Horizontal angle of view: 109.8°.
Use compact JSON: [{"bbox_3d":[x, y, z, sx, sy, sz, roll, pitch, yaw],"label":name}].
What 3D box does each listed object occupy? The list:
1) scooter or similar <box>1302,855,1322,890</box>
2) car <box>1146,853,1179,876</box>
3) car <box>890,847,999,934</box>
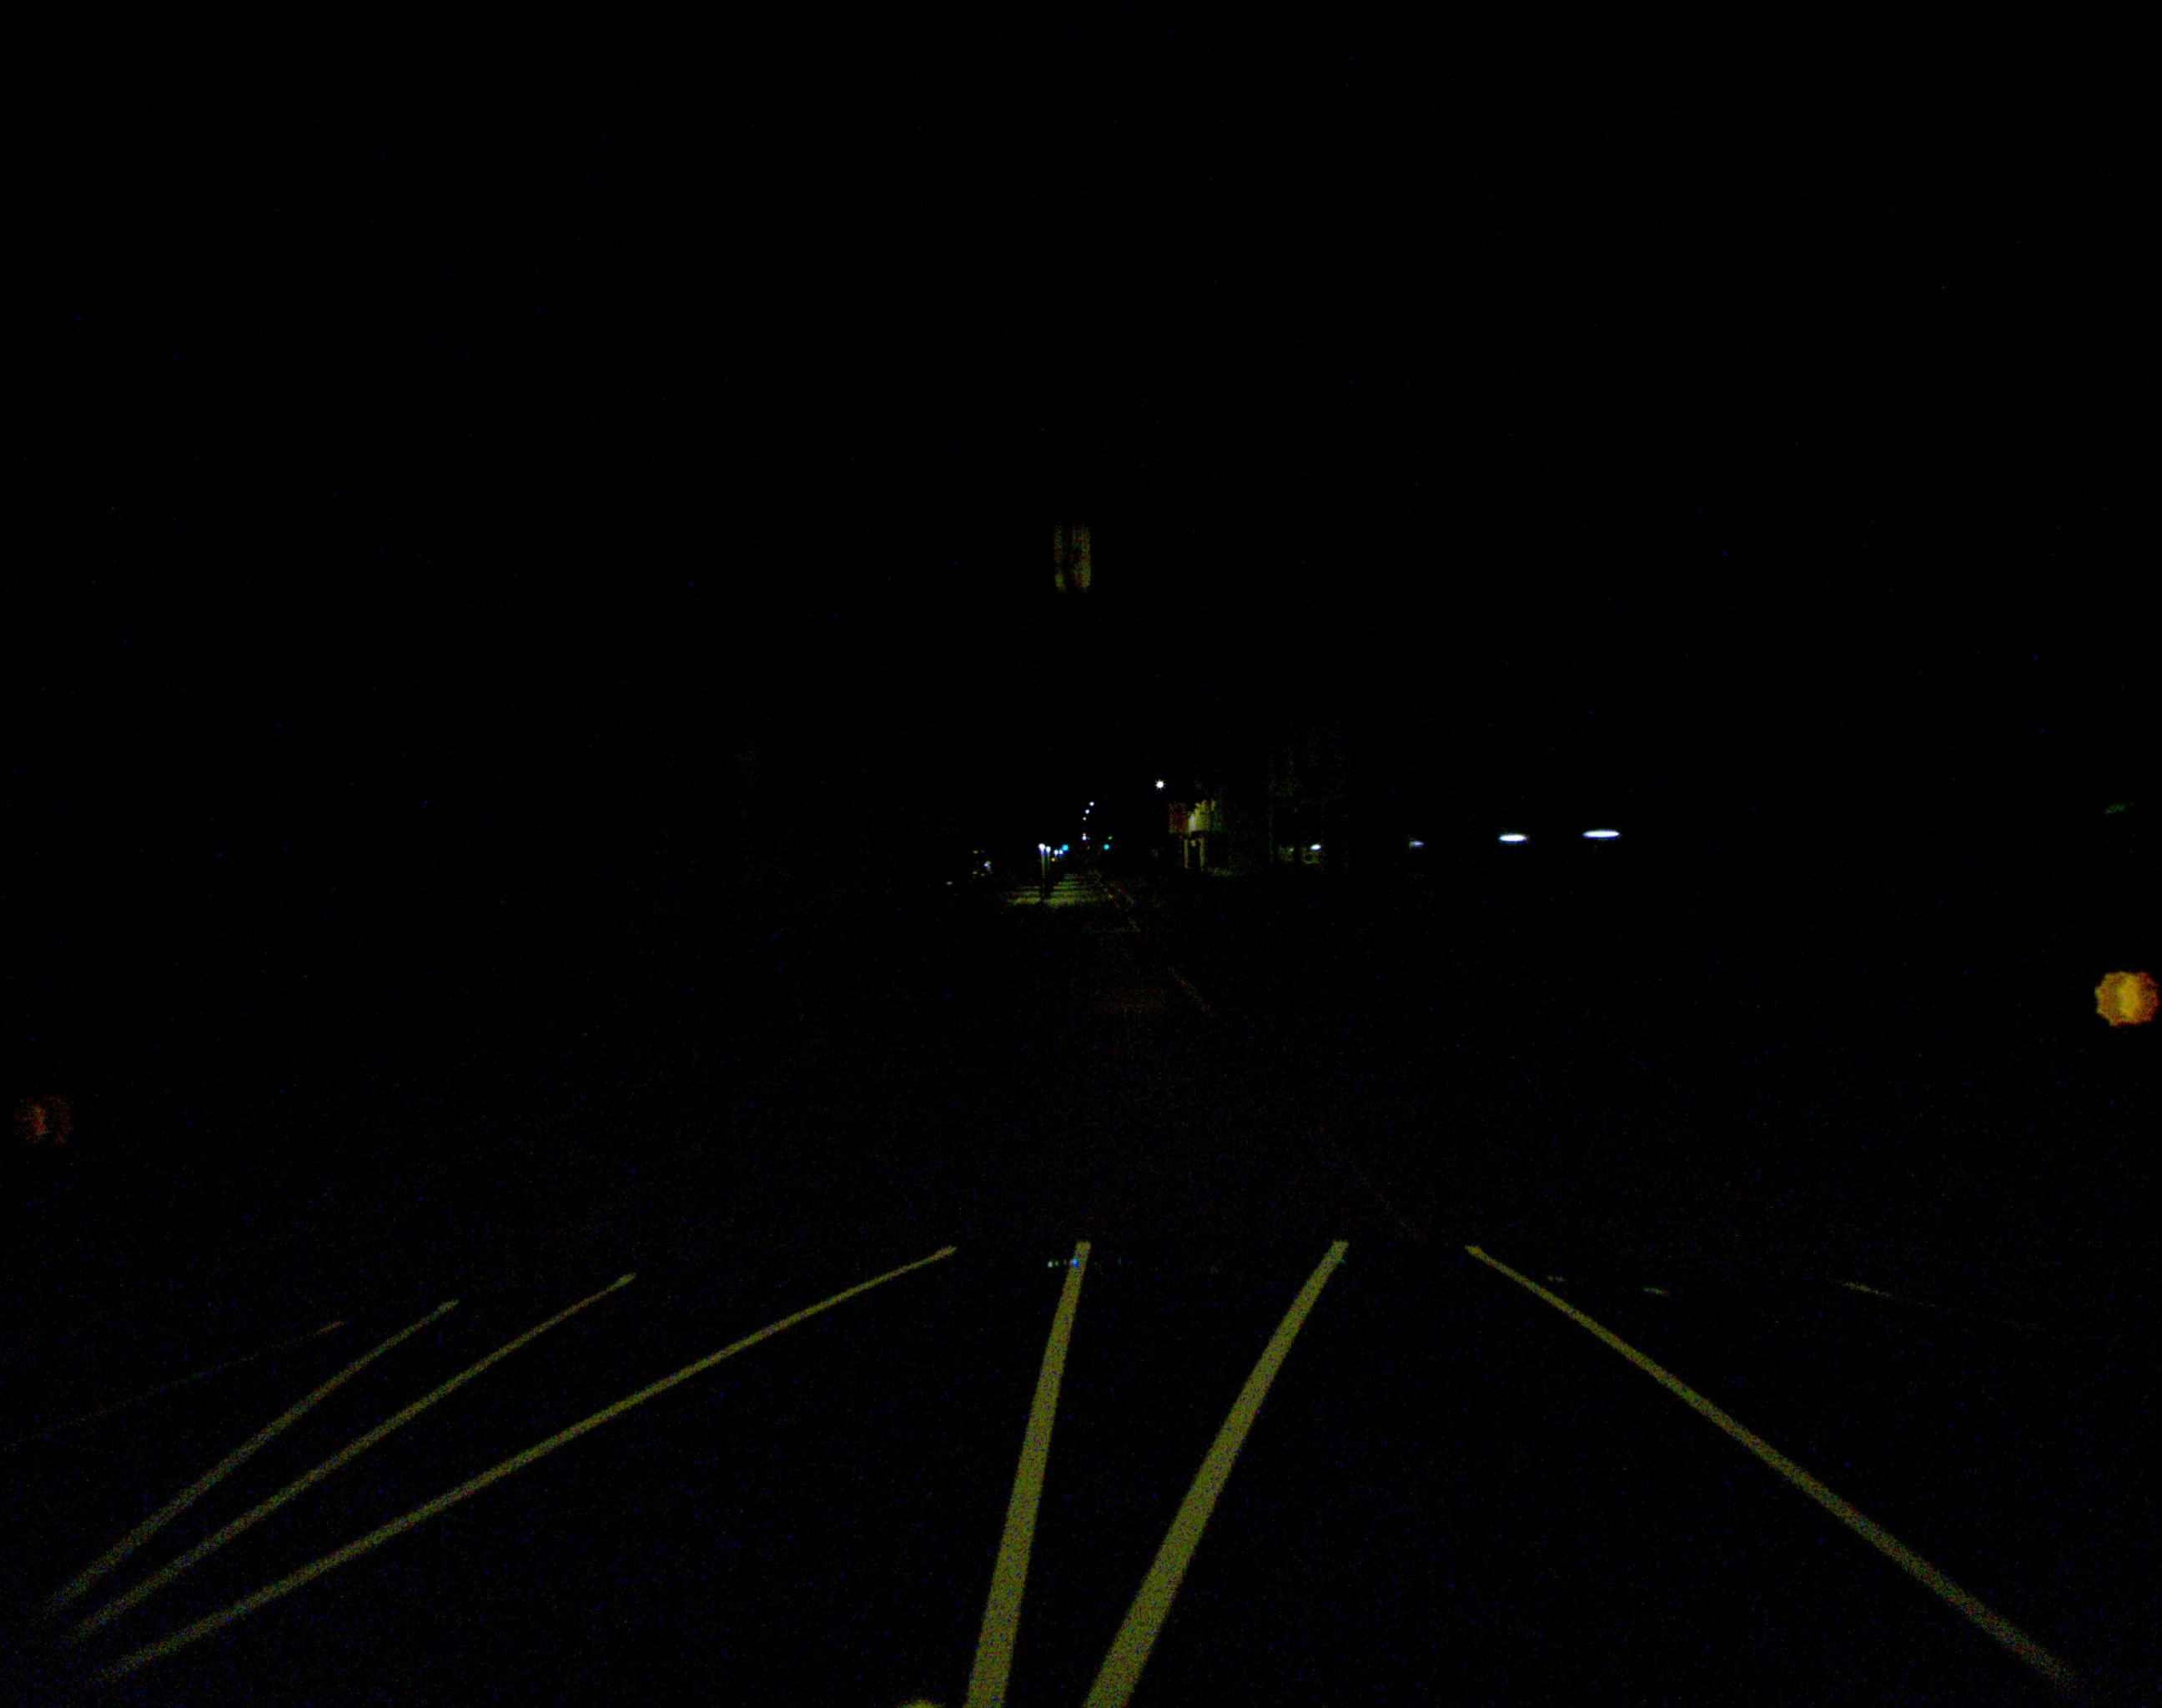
[{"bbox_3d":[8.501,0.676,27.982,0.332,1.218,1.335,-2,1,2],"label":"scooter or similar"},{"bbox_3d":[5.664,0.714,53.485,1.731,1.477,4.290,-3,0,-1],"label":"car"},{"bbox_3d":[-3.166,0.767,18.640,1.916,1.816,4.899,-2,0,-2],"label":"car"}]
